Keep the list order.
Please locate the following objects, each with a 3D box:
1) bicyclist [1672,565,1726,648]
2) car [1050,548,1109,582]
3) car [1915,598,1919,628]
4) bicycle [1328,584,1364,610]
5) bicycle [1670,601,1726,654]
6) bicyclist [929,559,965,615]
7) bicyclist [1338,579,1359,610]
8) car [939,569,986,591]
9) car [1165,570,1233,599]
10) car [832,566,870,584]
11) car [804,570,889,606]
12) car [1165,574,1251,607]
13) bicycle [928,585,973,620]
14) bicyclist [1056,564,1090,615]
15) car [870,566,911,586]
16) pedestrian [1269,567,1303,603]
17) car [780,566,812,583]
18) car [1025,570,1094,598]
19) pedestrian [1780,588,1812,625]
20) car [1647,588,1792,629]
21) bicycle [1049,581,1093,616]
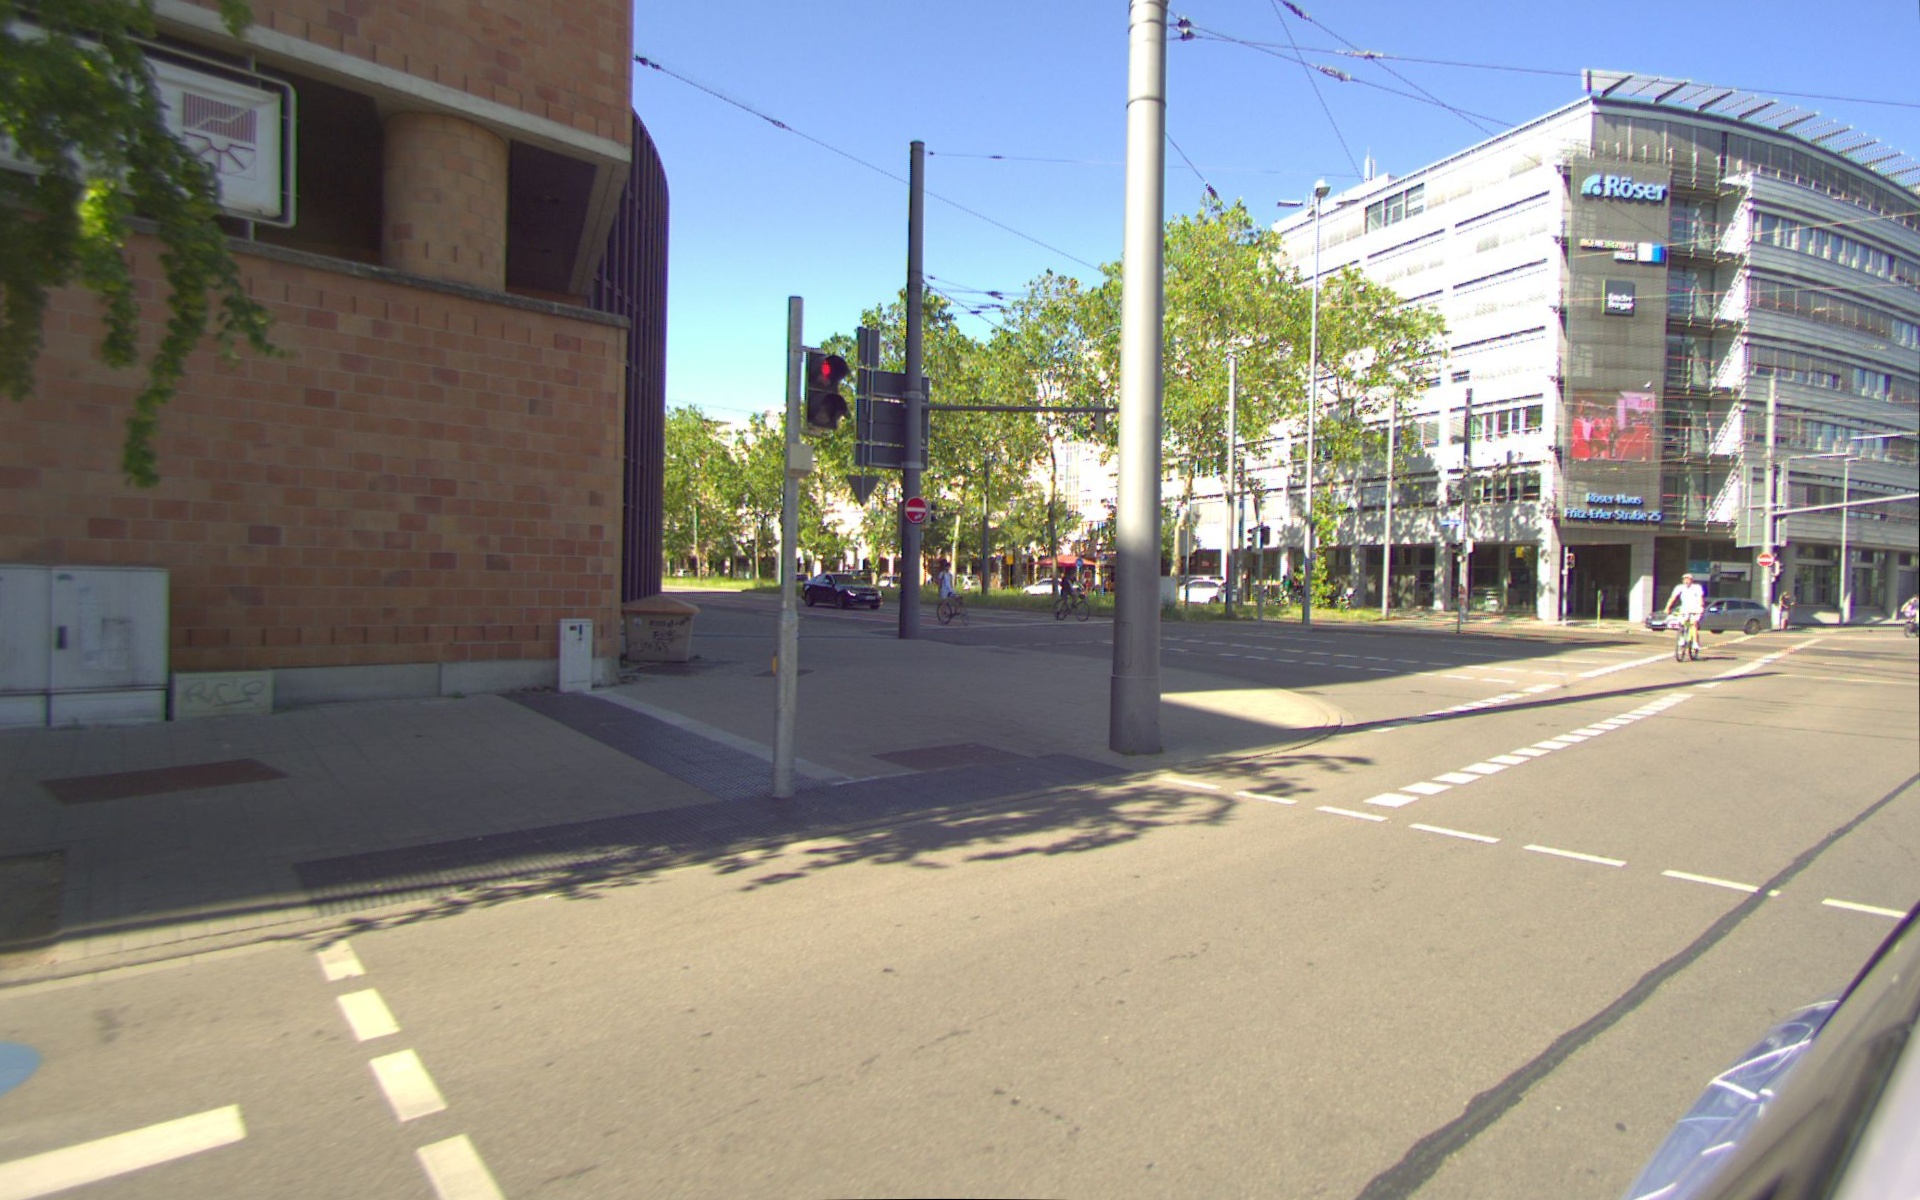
[{"bbox_3d":[15.933,0.146,21.820,0.892,1.751,0.685,1,-1,-36],"label":"bicyclist"},{"bbox_3d":[8.315,-2.466,70.894,1.897,2.263,4.255,1,1,-31],"label":"car"},{"bbox_3d":[49.175,0.612,50.054,3.922,1.482,1.886,-1,0,-32],"label":"car"},{"bbox_3d":[18.493,-0.152,48.493,1.531,1.161,0.476,2,1,32],"label":"bicycle"},{"bbox_3d":[15.927,0.579,21.830,1.479,1.110,0.578,0,-1,-37],"label":"bicycle"},{"bbox_3d":[-0.399,-0.419,31.313,0.894,1.690,0.674,2,1,44],"label":"bicyclist"},{"bbox_3d":[18.592,-0.275,48.398,0.756,1.426,0.747,2,1,33],"label":"bicyclist"},{"bbox_3d":[0.176,-1.613,81.585,1.897,1.666,4.255,0,2,-31],"label":"car"},{"bbox_3d":[14.508,-0.968,61.604,1.781,1.699,3.934,0,2,-31],"label":"car"},{"bbox_3d":[-10.258,-2.370,95.295,1.897,1.666,4.255,0,2,-31],"label":"car"},{"bbox_3d":[-4.783,-0.540,42.322,1.786,1.377,4.298,0,2,-33],"label":"car"},{"bbox_3d":[13.491,-0.541,55.308,1.902,1.666,4.244,0,2,-41],"label":"car"},{"bbox_3d":[-0.308,0.077,31.286,0.473,1.040,1.503,1,0,-45],"label":"bicycle"},{"bbox_3d":[3.864,-0.365,34.620,0.934,1.690,0.674,2,1,44],"label":"bicyclist"},{"bbox_3d":[-6.248,-2.133,90.211,1.897,1.666,4.255,0,2,-31],"label":"car"},{"bbox_3d":[19.087,-0.872,59.219,1.437,2.038,1.185,0,1,-32],"label":"pedestrian"},{"bbox_3d":[-17.298,-2.684,106.838,1.897,1.666,4.255,0,2,-31],"label":"car"},{"bbox_3d":[6.336,-1.040,64.567,1.902,1.666,4.244,0,2,-41],"label":"car"},{"bbox_3d":[39.108,0.295,47.336,0.784,1.708,0.862,1,1,-26],"label":"pedestrian"},{"bbox_3d":[31.434,0.342,41.956,4.752,1.577,1.939,1,1,-7],"label":"car"},{"bbox_3d":[3.778,-0.044,34.640,0.473,1.162,1.538,1,0,-45],"label":"bicycle"}]
